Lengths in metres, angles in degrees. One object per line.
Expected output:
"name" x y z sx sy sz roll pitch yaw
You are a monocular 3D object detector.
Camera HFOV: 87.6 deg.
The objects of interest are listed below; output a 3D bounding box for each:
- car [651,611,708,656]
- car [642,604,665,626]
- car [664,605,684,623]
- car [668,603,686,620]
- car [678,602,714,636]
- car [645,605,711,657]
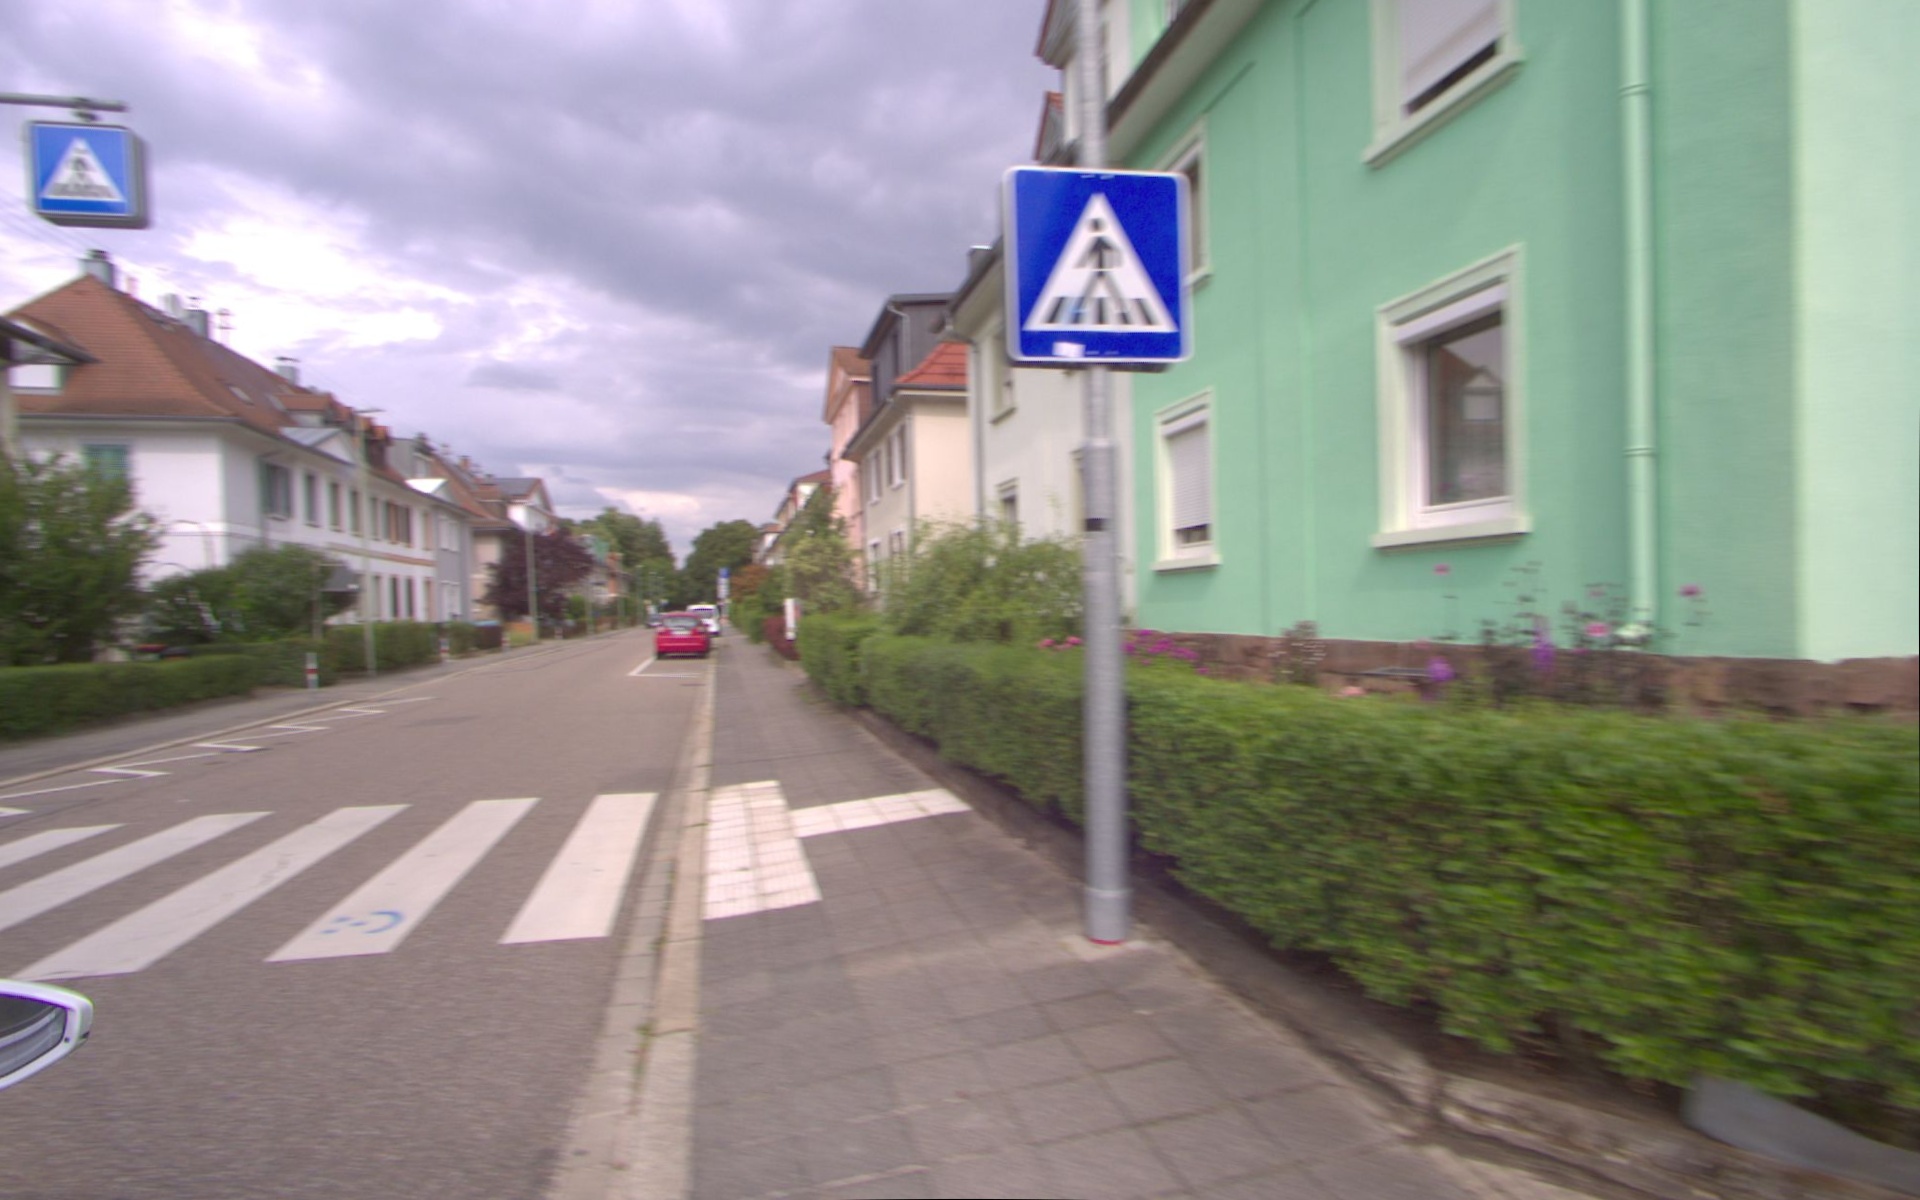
"car" -10.825 1.253 38.844 1.963 1.595 3.995 -2 0 -14
"car" -30.201 1.466 98.745 1.963 2.040 3.995 -1 0 -14
"car" -33.084 1.612 115.918 1.963 2.040 3.995 0 0 -14
"car" -28.807 1.179 101.818 1.704 1.728 3.992 0 -1 -18
"car" -16.086 1.130 61.147 1.963 1.929 3.995 -2 0 -14
"car" -9.463 0.992 33.802 1.963 1.595 3.995 -2 0 -14
